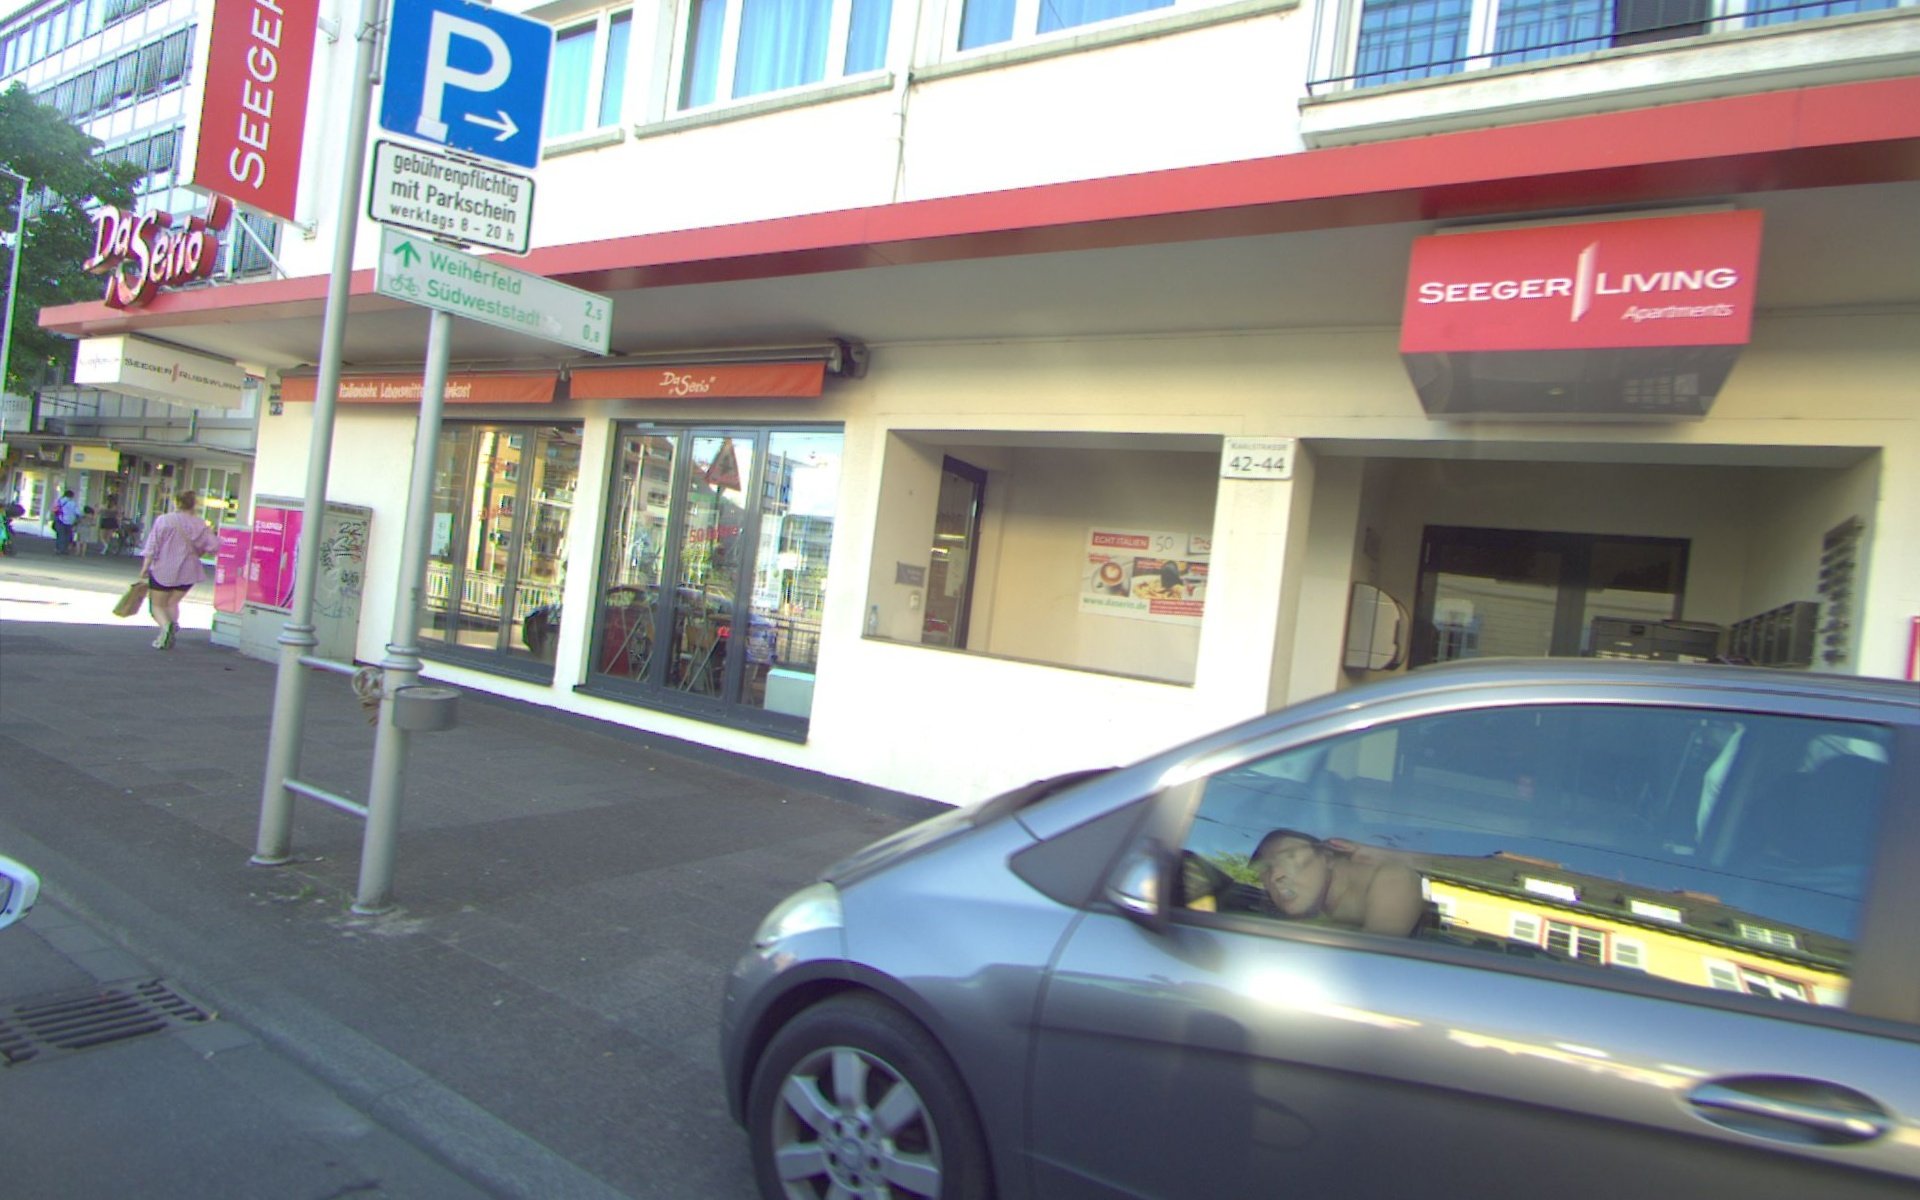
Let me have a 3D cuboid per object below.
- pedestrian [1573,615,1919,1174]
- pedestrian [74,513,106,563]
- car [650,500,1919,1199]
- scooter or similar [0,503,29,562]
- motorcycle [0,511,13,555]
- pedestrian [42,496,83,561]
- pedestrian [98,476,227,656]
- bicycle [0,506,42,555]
[{"bbox_3d":[3.100,1.023,3.906,0.915,1.796,0.806,7,0,20],"label":"pedestrian"},{"bbox_3d":[-23.744,-1.699,27.451,0.522,1.296,0.420,7,0,33],"label":"pedestrian"},{"bbox_3d":[1.299,0.825,2.251,3.588,1.652,1.747,7,1,31],"label":"car"},{"bbox_3d":[-23.057,-1.656,23.721,0.683,1.332,1.415,6,-1,6],"label":"scooter or similar"},{"bbox_3d":[-26.399,-1.925,26.448,0.586,1.140,1.997,7,-3,31],"label":"motorcycle"},{"bbox_3d":[-24.052,-1.909,26.965,0.459,1.662,0.595,7,0,32],"label":"pedestrian"},{"bbox_3d":[-8.275,-0.338,10.479,0.813,1.702,0.708,9,-3,-36],"label":"pedestrian"},{"bbox_3d":[-24.726,-1.865,25.463,0.475,1.134,2.055,7,-2,32],"label":"bicycle"}]
